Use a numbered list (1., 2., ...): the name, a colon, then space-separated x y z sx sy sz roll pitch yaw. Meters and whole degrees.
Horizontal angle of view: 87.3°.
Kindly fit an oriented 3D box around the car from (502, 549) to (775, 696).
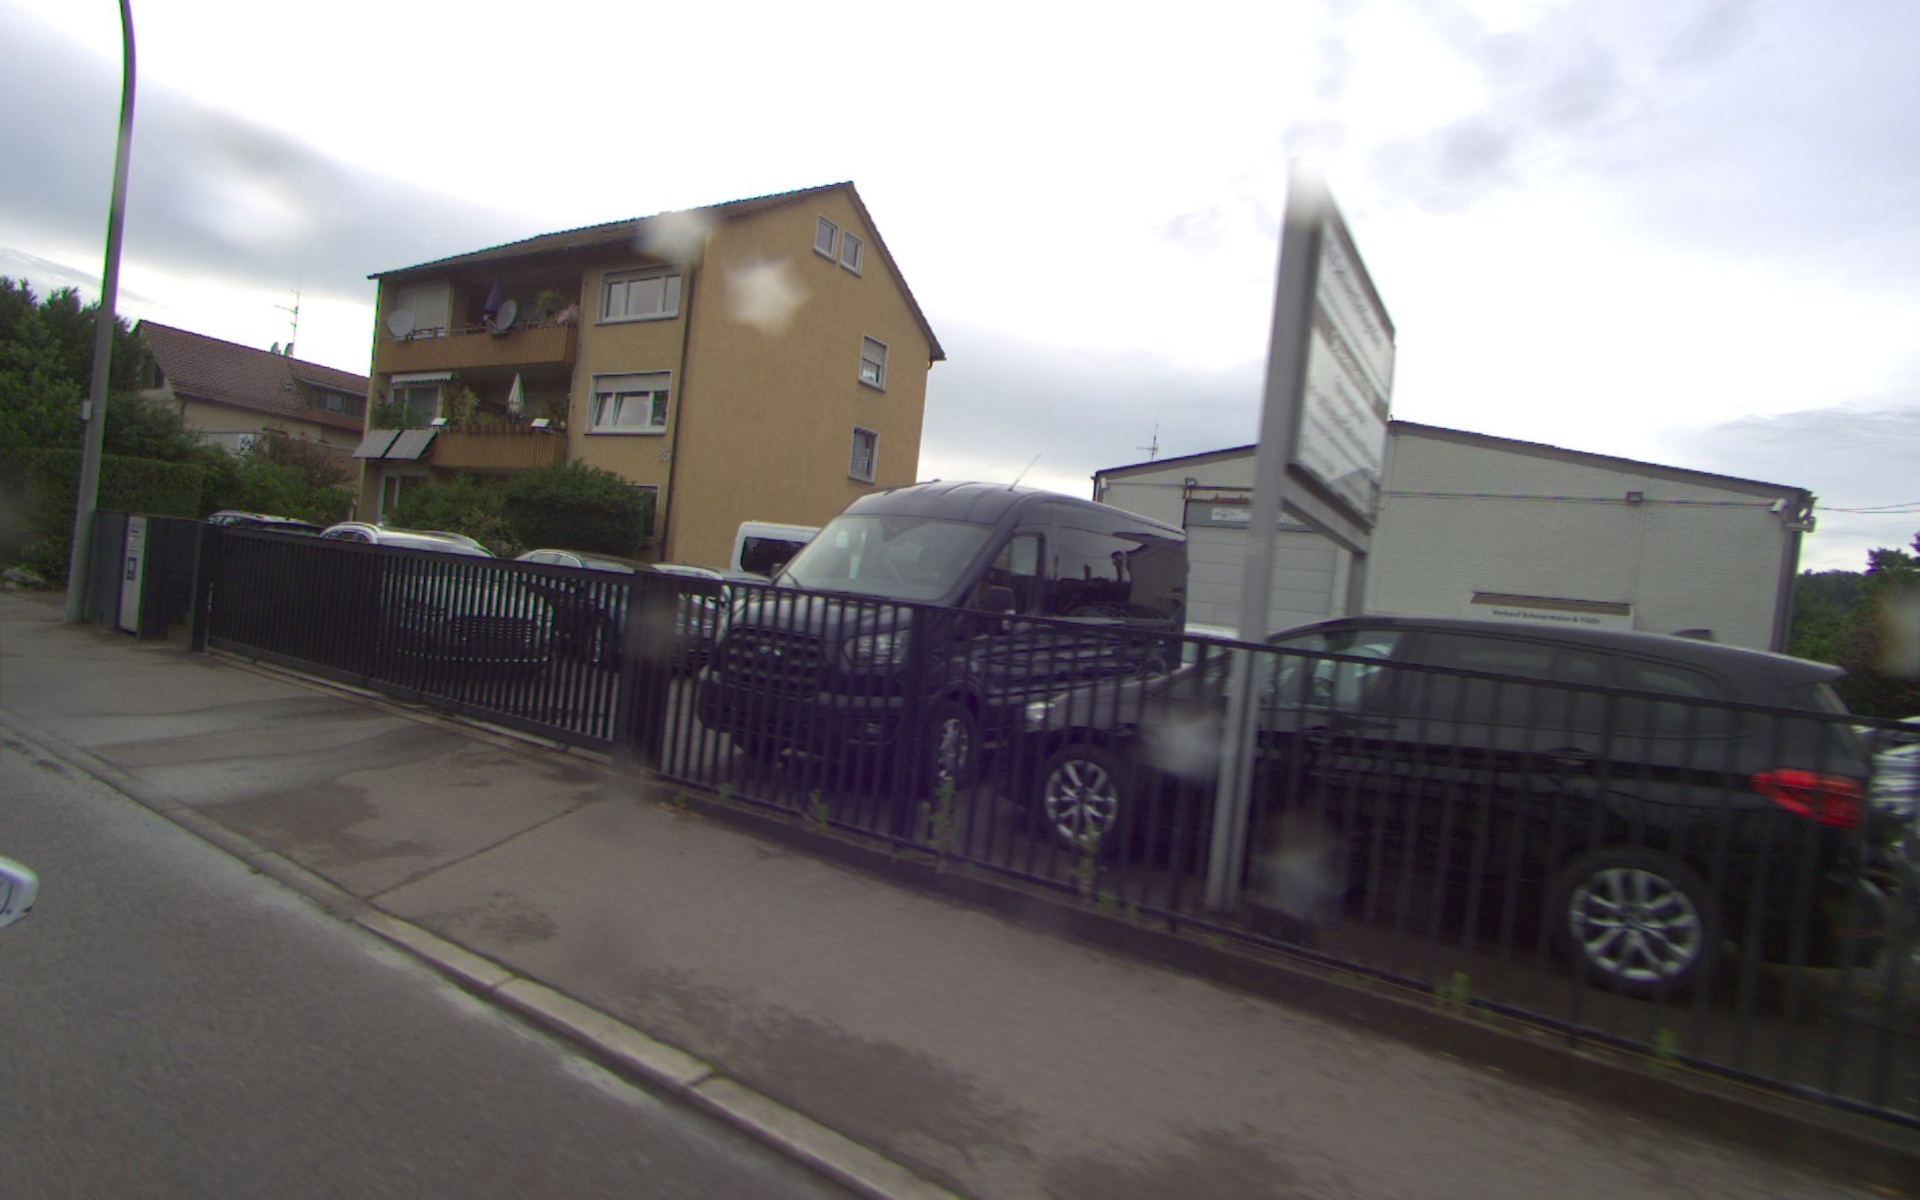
1. car: -4.662 0.265 14.284 4.047 1.668 1.880 3 -4 44

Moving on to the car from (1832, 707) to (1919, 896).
1. car: 8.999 1.702 7.206 3.838 1.369 1.587 5 -4 30

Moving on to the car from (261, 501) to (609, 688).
1. car: -6.577 -0.093 12.263 5.170 1.668 2.118 3 -5 44

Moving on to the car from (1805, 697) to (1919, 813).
1. car: 13.412 2.174 12.974 3.551 1.369 1.587 5 -4 31

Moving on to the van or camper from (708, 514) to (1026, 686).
1. van or camper: -1.901 -0.085 18.797 5.931 2.712 2.058 4 -2 38

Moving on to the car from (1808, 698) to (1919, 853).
1. car: 10.372 1.816 9.262 3.548 1.369 1.589 5 -3 27

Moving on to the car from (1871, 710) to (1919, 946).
1. car: 7.614 1.517 5.355 3.846 1.369 1.738 4 -4 37

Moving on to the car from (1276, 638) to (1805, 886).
1. car: 5.282 1.378 9.529 3.939 1.584 1.663 4 -4 36

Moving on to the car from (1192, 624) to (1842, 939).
1. car: 4.051 1.200 7.800 3.939 1.584 1.663 4 -4 36

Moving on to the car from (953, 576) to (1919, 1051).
1. car: 2.327 0.864 5.775 4.497 1.584 1.663 4 -4 36

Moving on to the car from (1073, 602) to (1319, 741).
1. car: 3.442 1.084 14.009 1.683 1.499 4.329 4 -4 36

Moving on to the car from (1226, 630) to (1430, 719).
1. car: 8.253 1.666 22.561 3.932 1.495 1.999 5 -4 29

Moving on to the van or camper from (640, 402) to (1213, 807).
1. van or camper: 0.239 0.249 9.275 2.098 2.514 5.913 5 -3 33

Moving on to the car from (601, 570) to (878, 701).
1. car: -3.769 0.524 16.650 4.759 1.668 2.085 3 -4 44

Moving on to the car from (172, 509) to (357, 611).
1. car: -13.181 -0.784 18.998 3.942 1.564 1.662 4 -4 38

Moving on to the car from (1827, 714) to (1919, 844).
1. car: 12.052 2.165 11.057 3.448 1.369 1.589 5 -3 27
